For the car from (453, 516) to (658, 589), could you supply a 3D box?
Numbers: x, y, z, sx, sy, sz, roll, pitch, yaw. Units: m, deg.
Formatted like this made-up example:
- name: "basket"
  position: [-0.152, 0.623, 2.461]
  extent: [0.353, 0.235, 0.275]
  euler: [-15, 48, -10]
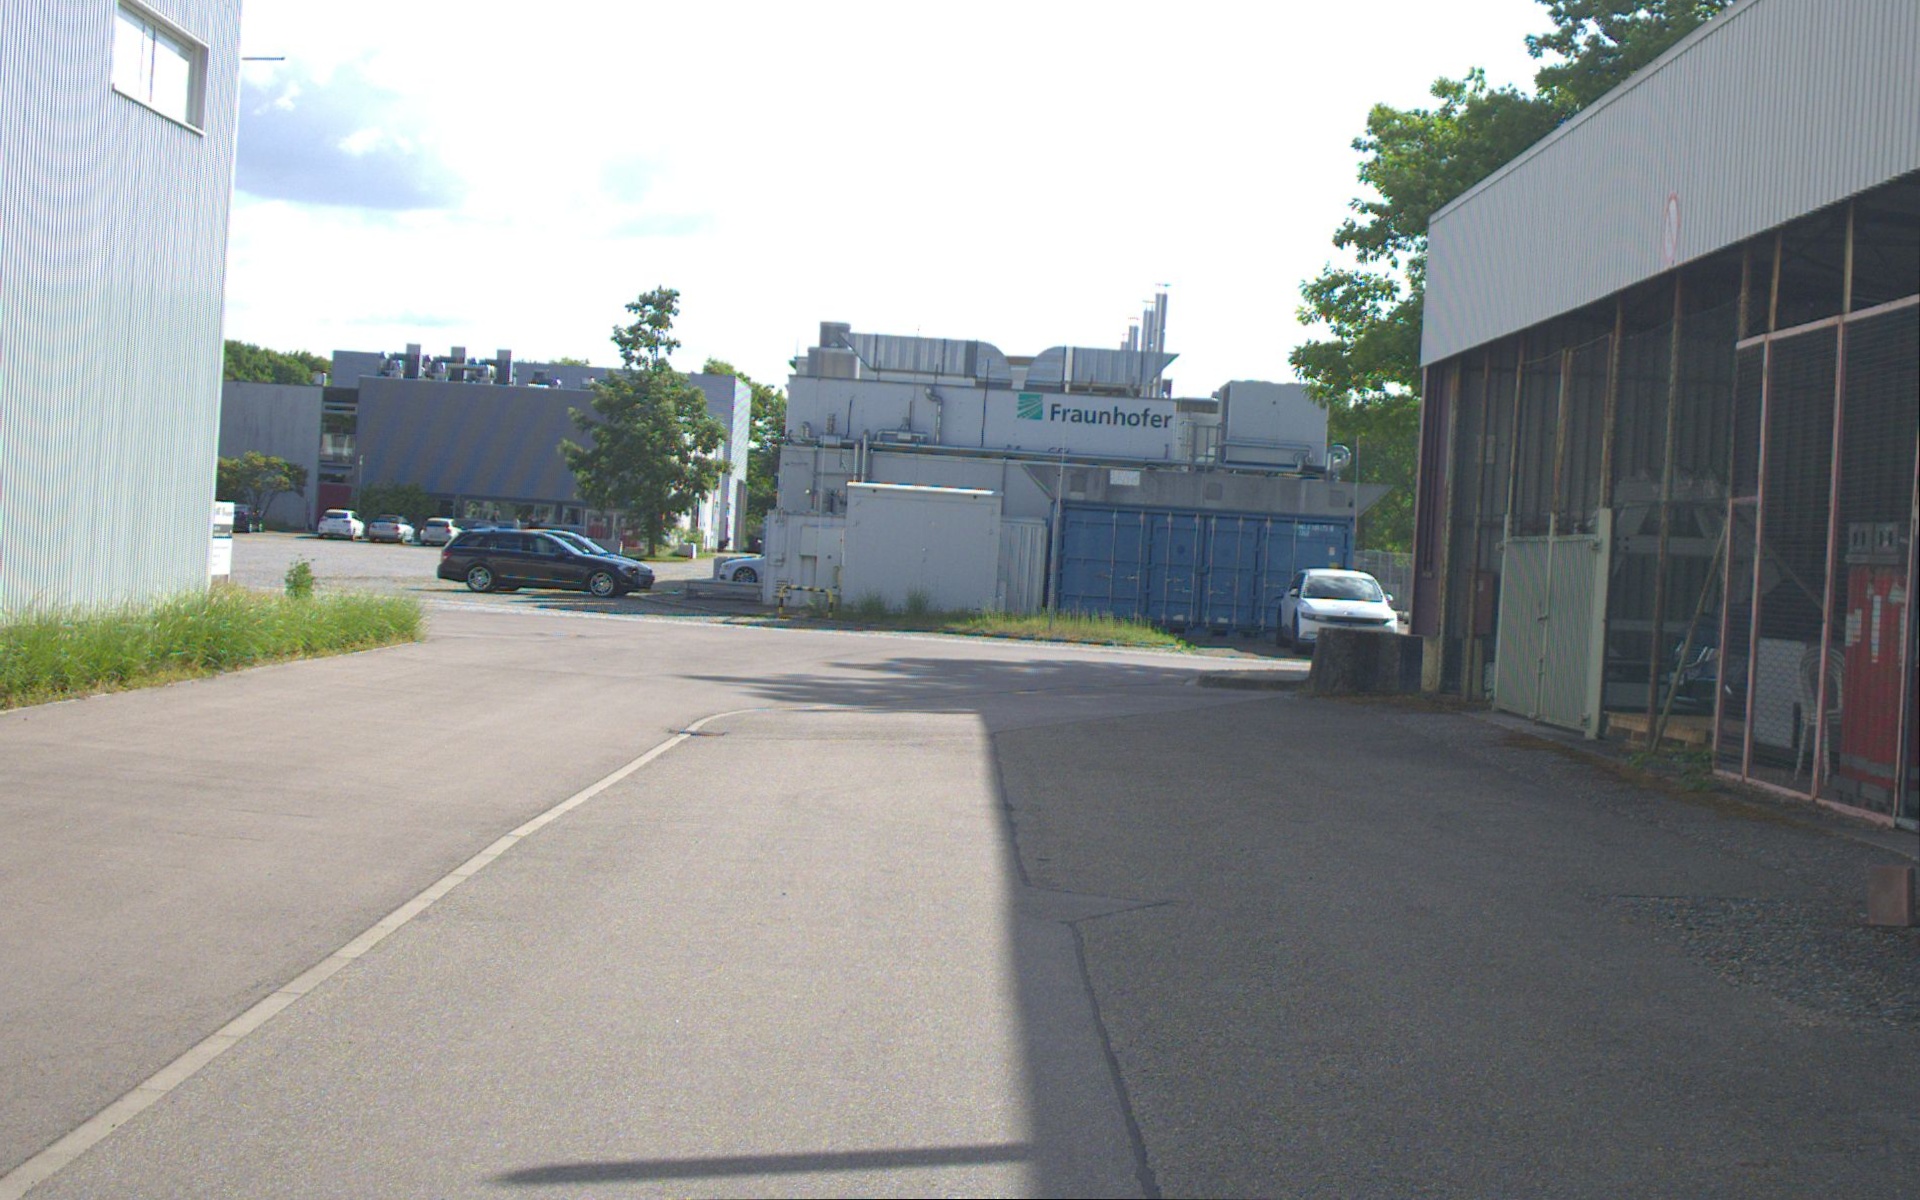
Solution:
- name: "car"
  position: [-9.557, -1.134, 81.443]
  extent: [4.526, 1.503, 1.909]
  euler: [3, 1, 2]

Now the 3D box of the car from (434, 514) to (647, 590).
- name: "car"
  position: [-9.514, -1.101, 78.205]
  extent: [4.526, 1.503, 1.909]
  euler: [3, 1, 2]

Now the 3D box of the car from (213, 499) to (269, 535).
- name: "car"
  position: [-36.554, -4.222, 174.885]
  extent: [1.993, 1.730, 4.000]
  euler: [2, 1, -1]

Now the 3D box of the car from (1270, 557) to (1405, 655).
- name: "car"
  position: [7.144, 0.082, 65.422]
  extent: [1.993, 1.580, 4.173]
  euler: [3, 2, -1]

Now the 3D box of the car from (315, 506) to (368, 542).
- name: "car"
  position: [-31.529, -3.872, 175.376]
  extent: [1.993, 1.730, 4.000]
  euler: [2, 1, -1]

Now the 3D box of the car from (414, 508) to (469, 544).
- name: "car"
  position: [-26.446, -3.763, 175.357]
  extent: [2.193, 1.730, 4.000]
  euler: [2, 1, -1]

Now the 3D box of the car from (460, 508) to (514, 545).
- name: "car"
  position: [-23.884, -3.707, 173.641]
  extent: [2.193, 1.730, 4.000]
  euler: [2, 1, -1]

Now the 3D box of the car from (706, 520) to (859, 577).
- name: "car"
  position: [-5.436, -1.579, 105.791]
  extent: [4.526, 1.503, 1.909]
  euler: [3, 1, 1]

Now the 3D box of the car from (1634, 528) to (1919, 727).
- name: "car"
  position: [9.784, 0.322, 35.126]
  extent: [5.236, 1.870, 2.000]
  euler: [3, 1, -5]

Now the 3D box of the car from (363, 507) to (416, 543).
- name: "car"
  position: [-29.032, -3.800, 175.019]
  extent: [1.993, 1.730, 4.000]
  euler: [2, 1, -1]
